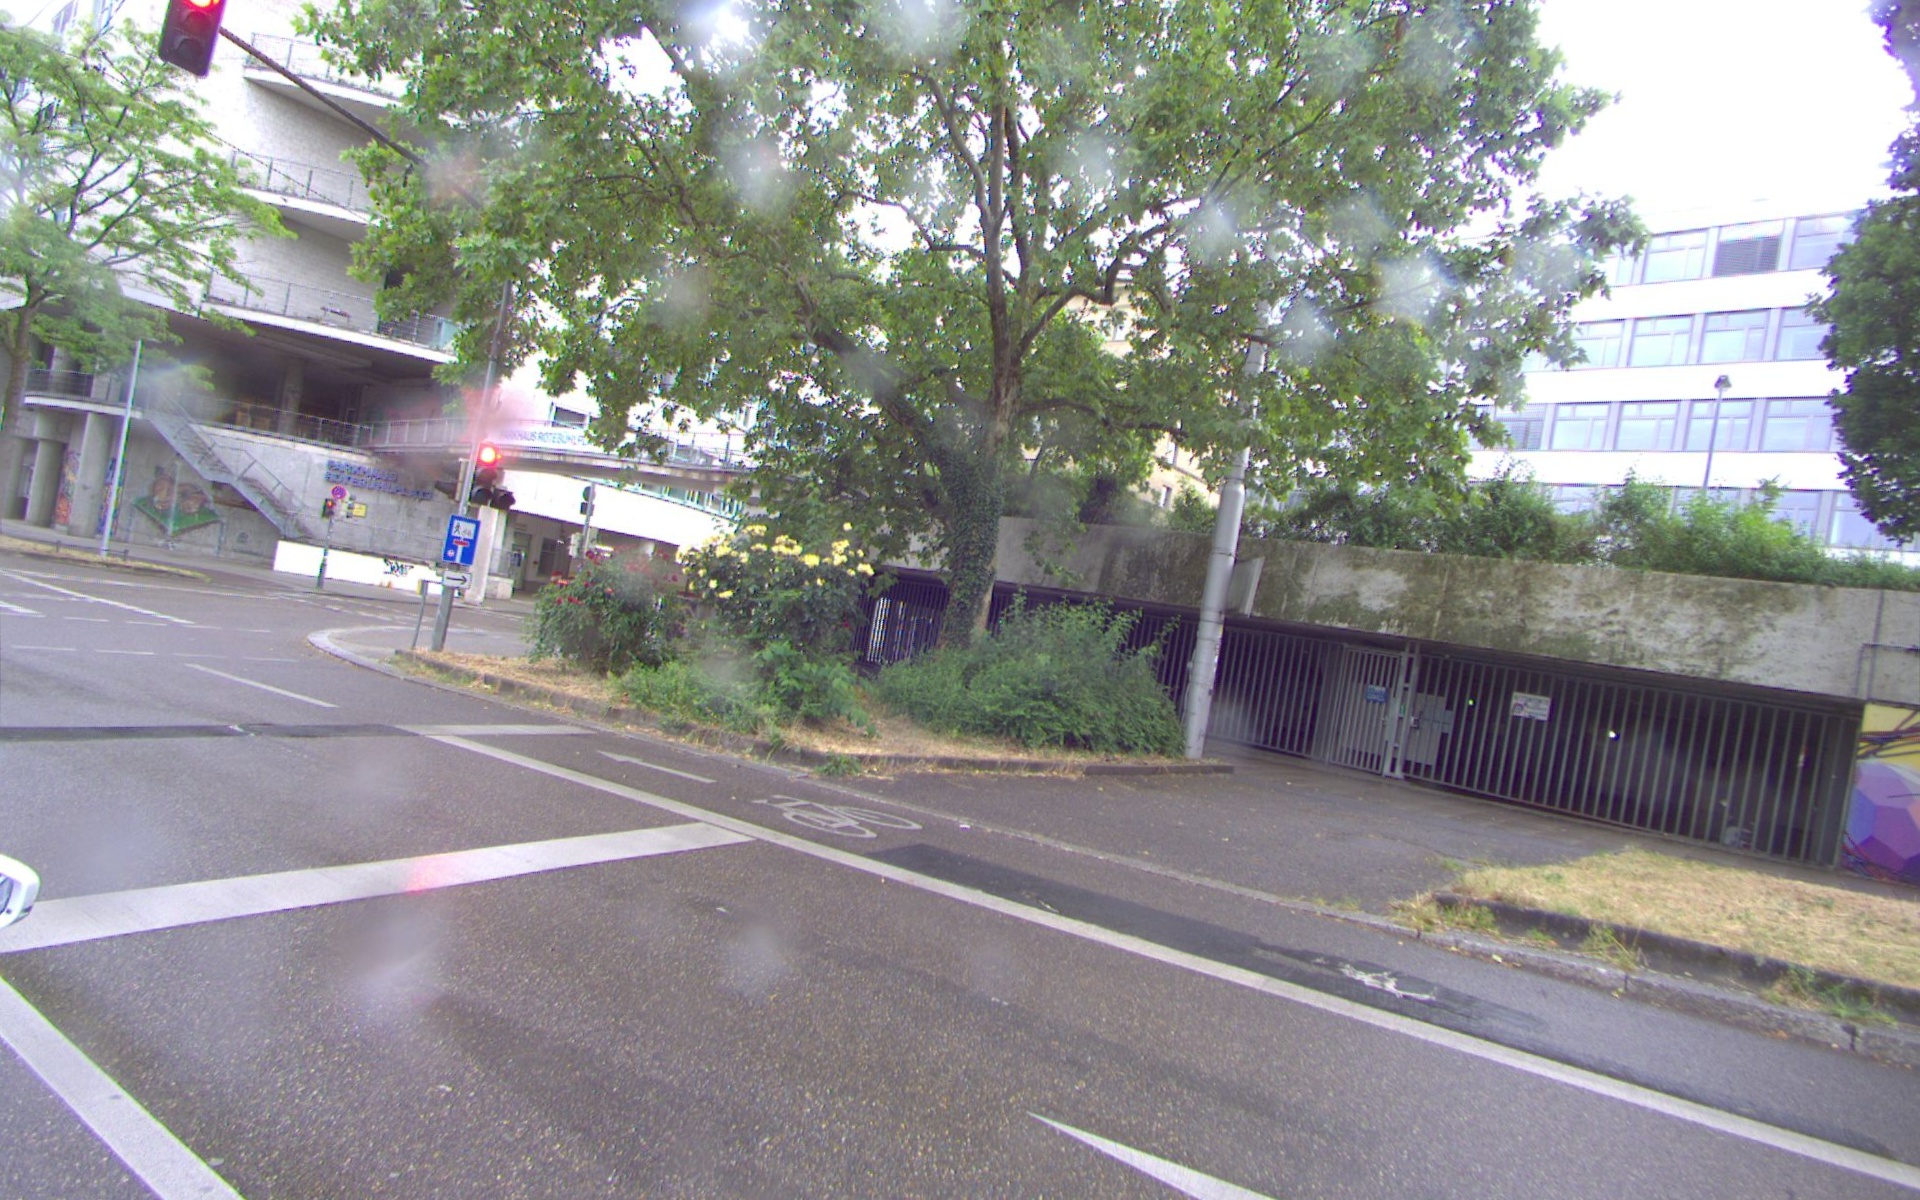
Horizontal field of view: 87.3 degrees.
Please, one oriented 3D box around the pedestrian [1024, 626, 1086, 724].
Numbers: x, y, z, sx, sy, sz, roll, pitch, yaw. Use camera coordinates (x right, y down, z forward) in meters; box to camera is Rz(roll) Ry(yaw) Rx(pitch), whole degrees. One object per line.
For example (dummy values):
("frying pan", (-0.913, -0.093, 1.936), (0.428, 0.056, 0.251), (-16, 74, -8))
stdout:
("pedestrian", (2.000, 1.578, 21.108), (0.745, 1.932, 0.847), (8, -1, 31))
